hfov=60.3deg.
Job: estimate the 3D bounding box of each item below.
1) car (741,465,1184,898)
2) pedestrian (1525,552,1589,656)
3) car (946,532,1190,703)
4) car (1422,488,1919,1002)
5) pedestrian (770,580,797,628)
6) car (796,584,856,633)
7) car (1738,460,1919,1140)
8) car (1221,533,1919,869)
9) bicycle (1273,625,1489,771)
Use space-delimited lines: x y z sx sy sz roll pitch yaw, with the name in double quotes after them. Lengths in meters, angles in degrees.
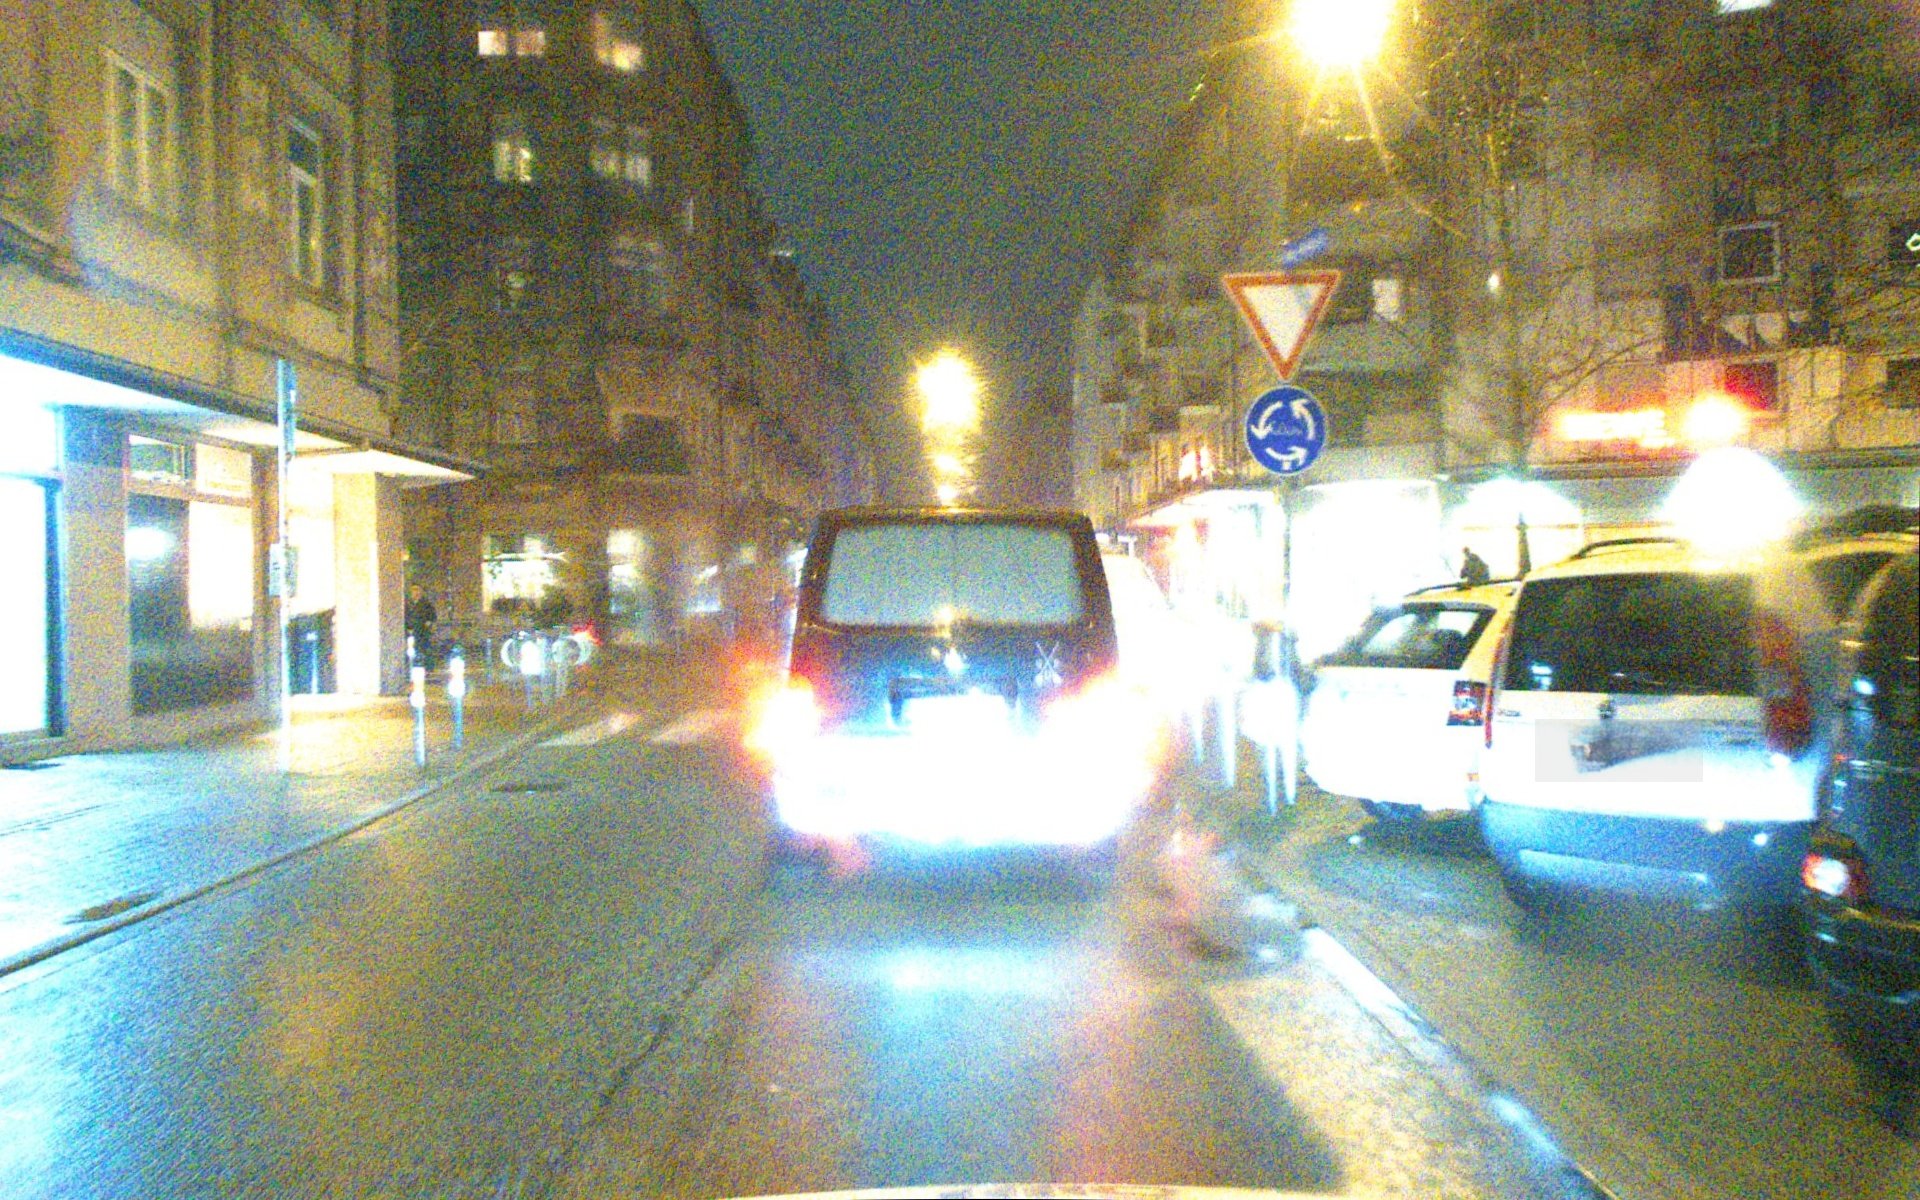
0.002 0.375 10.125 2.079 2.026 4.600 -1 0 0 "car"
10.961 0.078 30.355 0.861 1.865 0.980 -1 0 35 "pedestrian"
1.554 0.174 21.528 2.078 1.956 4.828 0 0 18 "car"
4.001 0.427 7.417 3.698 1.742 1.750 -3 1 -36 "car"
-6.696 0.164 62.850 0.787 1.797 1.016 1 0 5 "pedestrian"
-4.305 0.246 53.534 1.554 1.489 4.024 2 0 0 "car"
4.198 0.420 4.969 3.751 1.742 1.727 -3 1 -36 "car"
3.850 0.488 10.268 4.204 1.601 1.754 -3 1 -29 "car"
3.192 0.721 12.641 1.618 1.044 0.334 -1 1 44 "bicycle"
